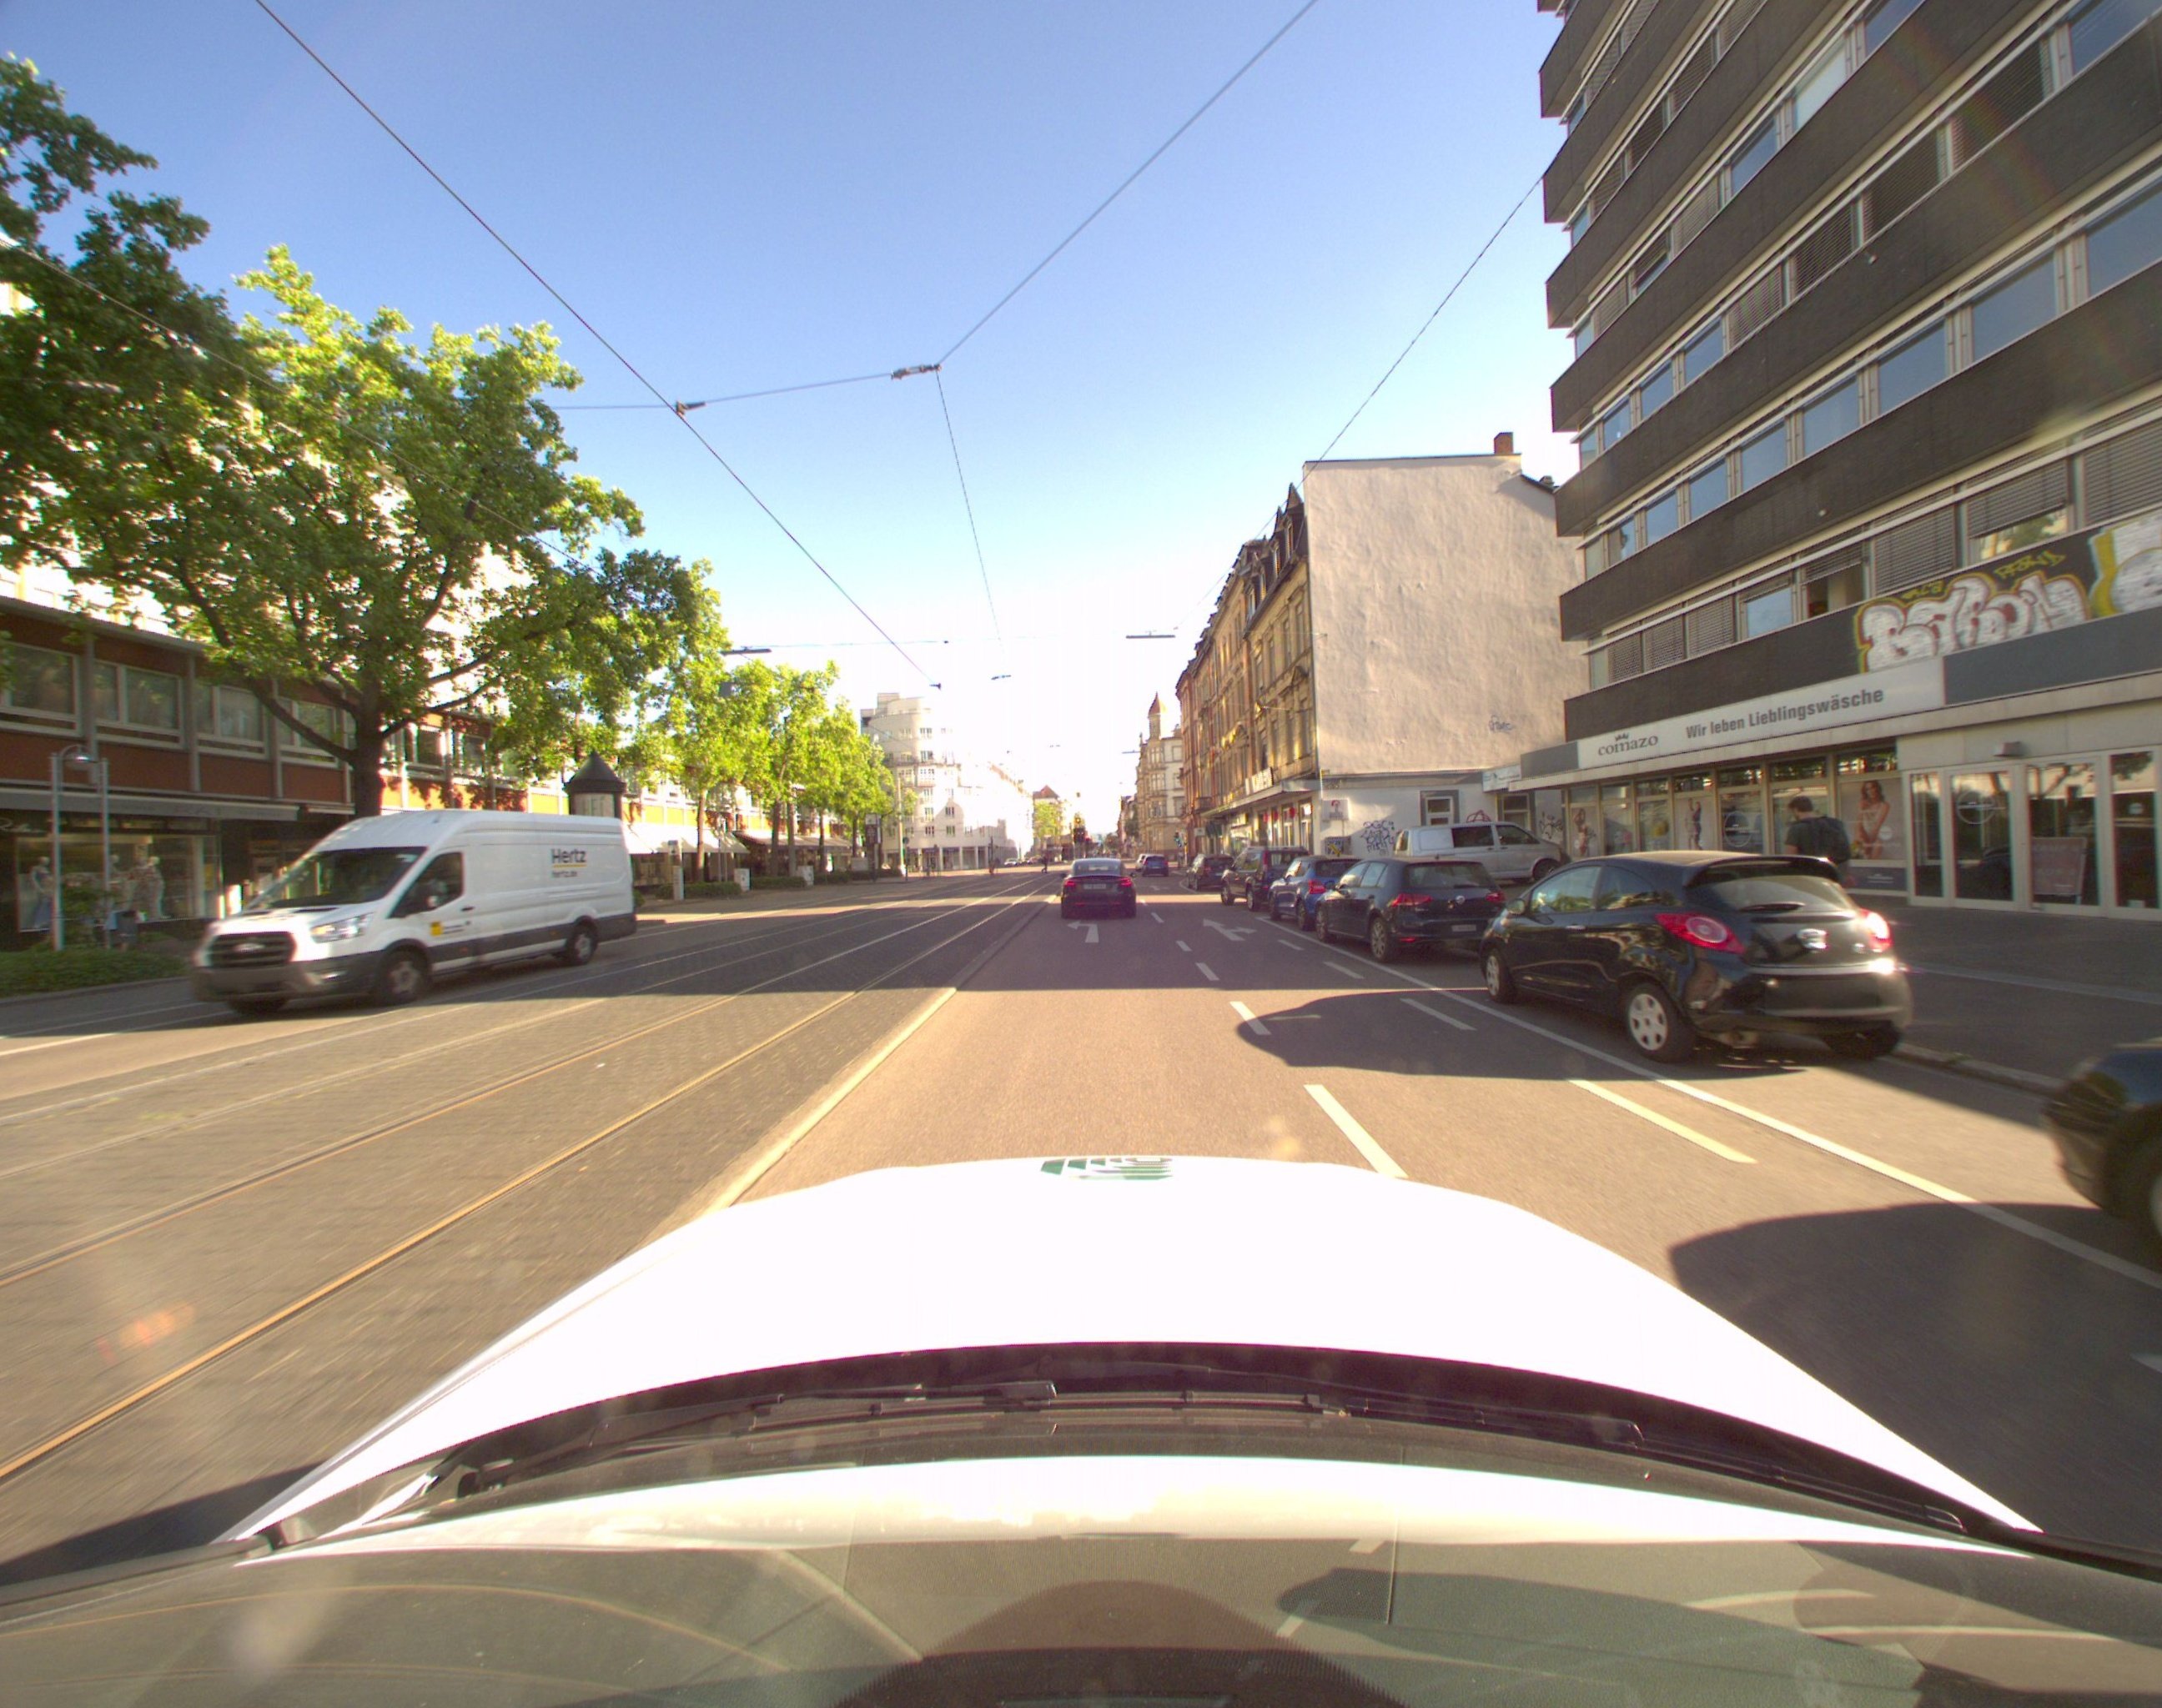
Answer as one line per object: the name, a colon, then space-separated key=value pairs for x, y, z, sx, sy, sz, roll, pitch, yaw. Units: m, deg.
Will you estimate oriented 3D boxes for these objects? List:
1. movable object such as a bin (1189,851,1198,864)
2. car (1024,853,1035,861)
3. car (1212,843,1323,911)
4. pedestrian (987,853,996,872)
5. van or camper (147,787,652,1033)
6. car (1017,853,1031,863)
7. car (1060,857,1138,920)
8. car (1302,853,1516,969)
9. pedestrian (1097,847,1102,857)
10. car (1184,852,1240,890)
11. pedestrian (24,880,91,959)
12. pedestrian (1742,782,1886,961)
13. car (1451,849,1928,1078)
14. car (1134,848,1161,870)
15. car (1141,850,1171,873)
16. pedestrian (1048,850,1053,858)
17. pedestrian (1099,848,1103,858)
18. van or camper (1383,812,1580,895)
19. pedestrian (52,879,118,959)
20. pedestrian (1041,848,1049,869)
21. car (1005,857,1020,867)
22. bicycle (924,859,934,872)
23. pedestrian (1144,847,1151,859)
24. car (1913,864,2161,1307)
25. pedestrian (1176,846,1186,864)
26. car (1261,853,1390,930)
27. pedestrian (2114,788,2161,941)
movable object such as a bin: x=9.336 y=0.283 z=67.709 sx=0.660 sy=1.072 sz=0.591 roll=-5 pitch=0 yaw=3
car: x=-10.435 y=0.634 z=164.856 sx=1.723 sy=1.515 sz=4.405 roll=-2 pitch=0 yaw=1
car: x=5.090 y=0.584 z=22.889 sx=1.688 sy=1.713 sz=4.606 roll=0 pitch=0 yaw=-5
pedestrian: x=-7.343 y=0.700 z=67.003 sx=0.498 sy=1.517 sz=0.859 roll=-4 pitch=0 yaw=1
van or camper: x=-9.746 y=0.636 z=12.950 sx=2.030 sy=2.739 sz=7.018 roll=-3 pitch=0 yaw=-1
car: x=-11.044 y=0.769 z=158.971 sx=2.219 sy=1.911 sz=4.609 roll=-2 pitch=0 yaw=1
car: x=0.465 y=0.803 z=21.042 sx=1.804 sy=1.424 sz=4.155 roll=0 pitch=0 yaw=1
car: x=4.796 y=0.749 z=12.598 sx=1.692 sy=1.483 sz=4.227 roll=0 pitch=0 yaw=1
pedestrian: x=3.426 y=-0.334 z=153.395 sx=0.710 sy=1.777 sz=0.569 roll=-2 pitch=0 yaw=37
car: x=5.342 y=0.640 z=33.657 sx=1.684 sy=1.451 sz=4.361 roll=0 pitch=0 yaw=1
pedestrian: x=-23.700 y=1.496 z=18.867 sx=0.570 sy=1.750 sz=0.707 roll=-2 pitch=0 yaw=2
pedestrian: x=8.274 y=0.197 z=9.252 sx=0.681 sy=1.911 sz=1.064 roll=-1 pitch=-1 yaw=4
car: x=4.787 y=0.725 z=7.109 sx=1.565 sy=1.483 sz=3.558 roll=0 pitch=0 yaw=1
car: x=5.515 y=0.443 z=67.847 sx=1.986 sy=1.743 sz=4.001 roll=0 pitch=-1 yaw=2
car: x=4.948 y=0.494 z=54.364 sx=1.774 sy=1.451 sz=3.656 roll=0 pitch=0 yaw=2
pedestrian: x=-5.843 y=0.040 z=156.153 sx=0.729 sy=1.527 sz=0.743 roll=-2 pitch=1 yaw=0
pedestrian: x=3.636 y=-0.201 z=148.295 sx=0.633 sy=1.698 sz=0.935 roll=-1 pitch=-1 yaw=9
van or camper: x=11.615 y=-0.014 z=23.919 sx=4.670 sy=1.933 sz=2.003 roll=-5 pitch=0 yaw=5
pedestrian: x=-23.050 y=1.498 z=18.855 sx=0.570 sy=1.772 sz=0.707 roll=-2 pitch=0 yaw=2
pedestrian: x=-3.076 y=0.390 z=69.675 sx=0.556 sy=1.763 sz=0.895 roll=-4 pitch=0 yaw=1
car: x=-11.041 y=1.306 z=131.081 sx=1.987 sy=1.451 sz=4.501 roll=-2 pitch=0 yaw=0
bicycle: x=-13.908 y=1.029 z=74.582 sx=0.496 sy=1.186 sz=2.235 roll=-2 pitch=0 yaw=0
pedestrian: x=9.618 y=-0.140 z=117.986 sx=0.777 sy=1.749 sz=1.093 roll=-2 pitch=2 yaw=-1
car: x=4.441 y=0.738 z=1.067 sx=1.722 sy=1.483 sz=4.929 roll=0 pitch=-1 yaw=1
pedestrian: x=8.940 y=0.066 z=72.658 sx=0.680 sy=1.607 sz=0.729 roll=-2 pitch=0 yaw=-8
car: x=5.081 y=0.711 z=17.427 sx=1.707 sy=1.454 sz=3.779 roll=0 pitch=0 yaw=1
pedestrian: x=12.211 y=0.071 z=8.692 sx=1.006 sy=1.648 sz=0.917 roll=-6 pitch=-1 yaw=2
